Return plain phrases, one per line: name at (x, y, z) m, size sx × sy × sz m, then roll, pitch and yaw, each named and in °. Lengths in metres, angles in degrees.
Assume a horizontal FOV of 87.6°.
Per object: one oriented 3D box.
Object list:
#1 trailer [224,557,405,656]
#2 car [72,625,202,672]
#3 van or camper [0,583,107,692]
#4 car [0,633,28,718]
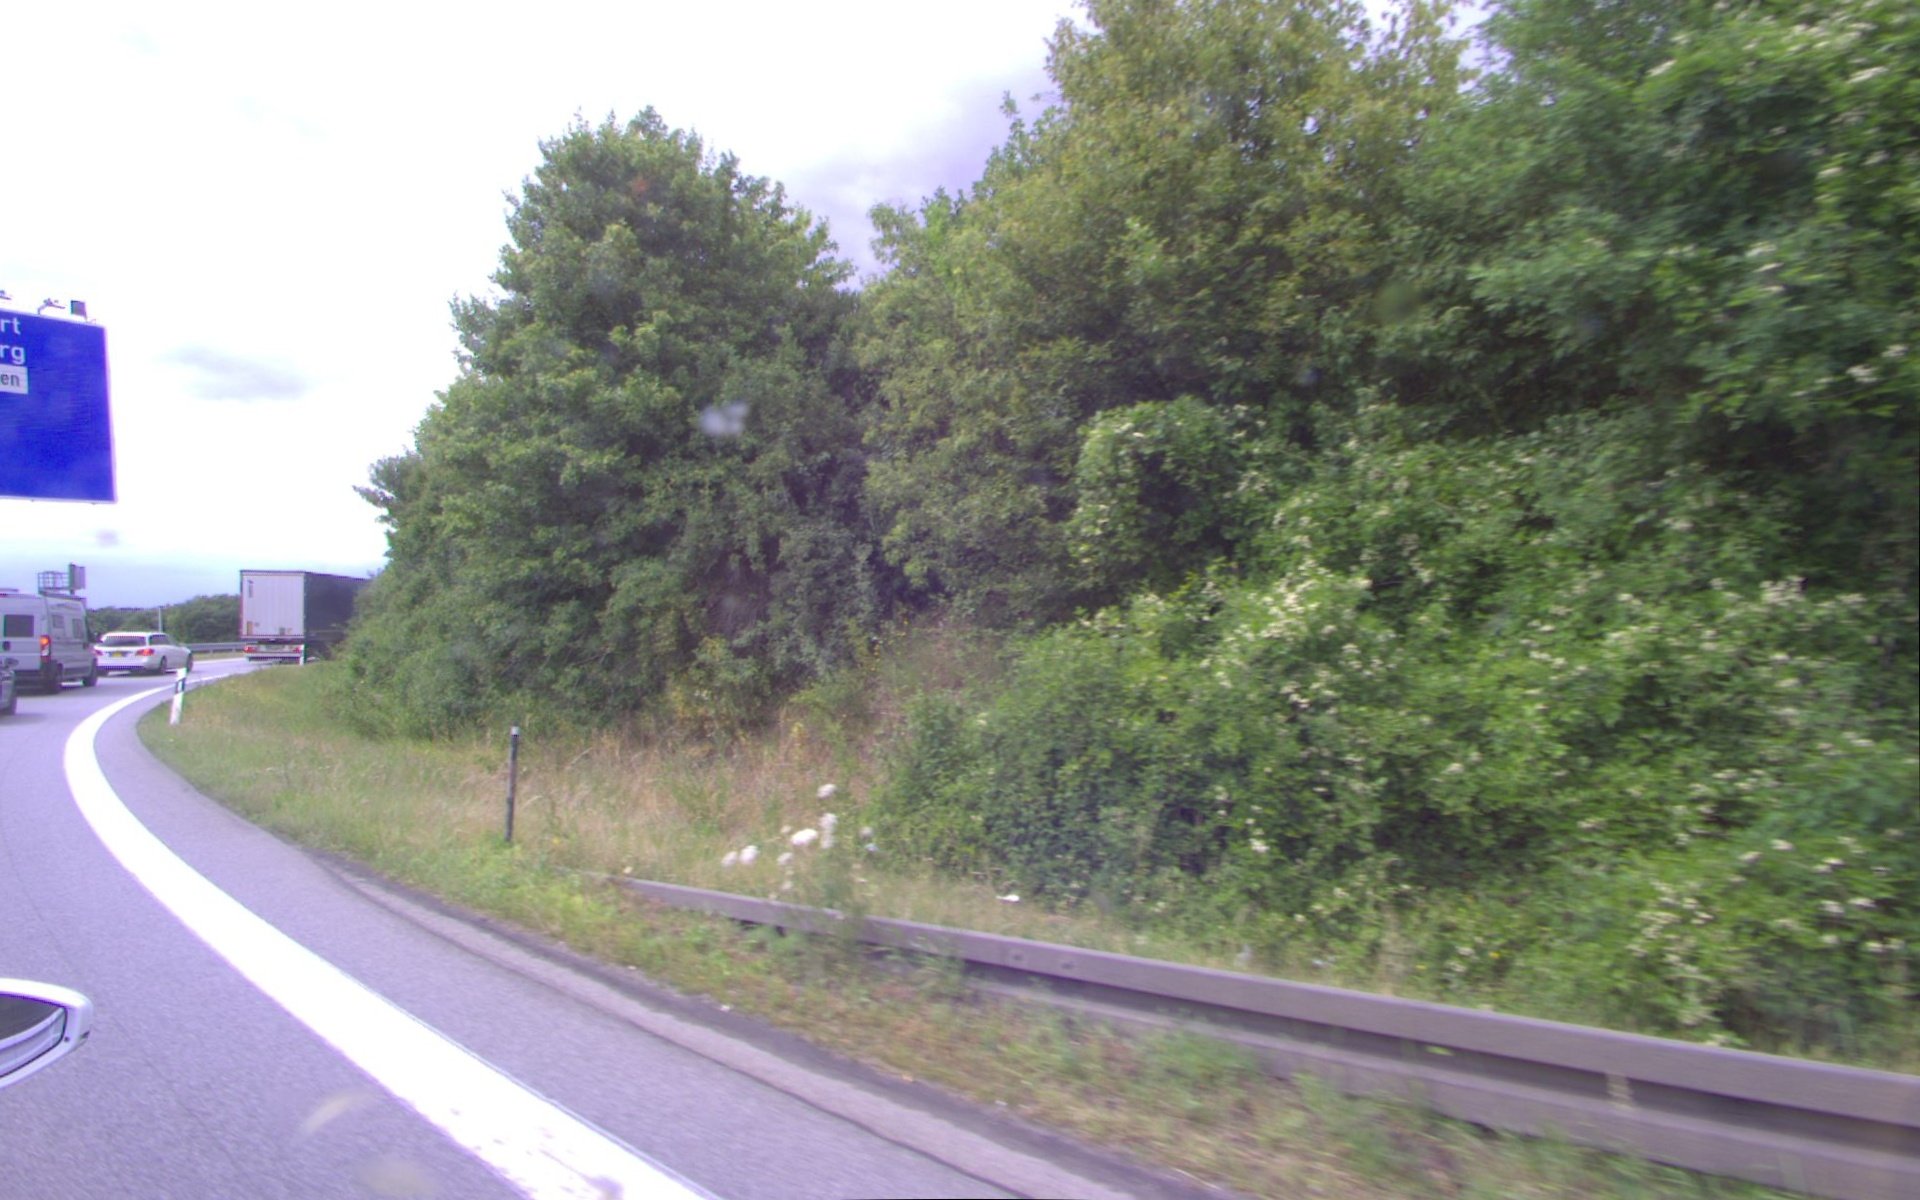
trailer at (-31.334, 0.454, 49.575) m, size 3.280 × 4.247 × 13.021 m, roll 0°, pitch -1°, yaw -13°
car at (-29.021, 1.664, 35.528) m, size 2.176 × 1.521 × 4.774 m, roll 0°, pitch -1°, yaw -22°
van or camper at (-24.640, 0.954, 26.543) m, size 2.270 × 2.602 × 6.124 m, roll 0°, pitch -1°, yaw -33°
car at (-18.010, 1.319, 17.853) m, size 1.715 × 1.437 × 3.638 m, roll 1°, pitch -2°, yaw -38°
